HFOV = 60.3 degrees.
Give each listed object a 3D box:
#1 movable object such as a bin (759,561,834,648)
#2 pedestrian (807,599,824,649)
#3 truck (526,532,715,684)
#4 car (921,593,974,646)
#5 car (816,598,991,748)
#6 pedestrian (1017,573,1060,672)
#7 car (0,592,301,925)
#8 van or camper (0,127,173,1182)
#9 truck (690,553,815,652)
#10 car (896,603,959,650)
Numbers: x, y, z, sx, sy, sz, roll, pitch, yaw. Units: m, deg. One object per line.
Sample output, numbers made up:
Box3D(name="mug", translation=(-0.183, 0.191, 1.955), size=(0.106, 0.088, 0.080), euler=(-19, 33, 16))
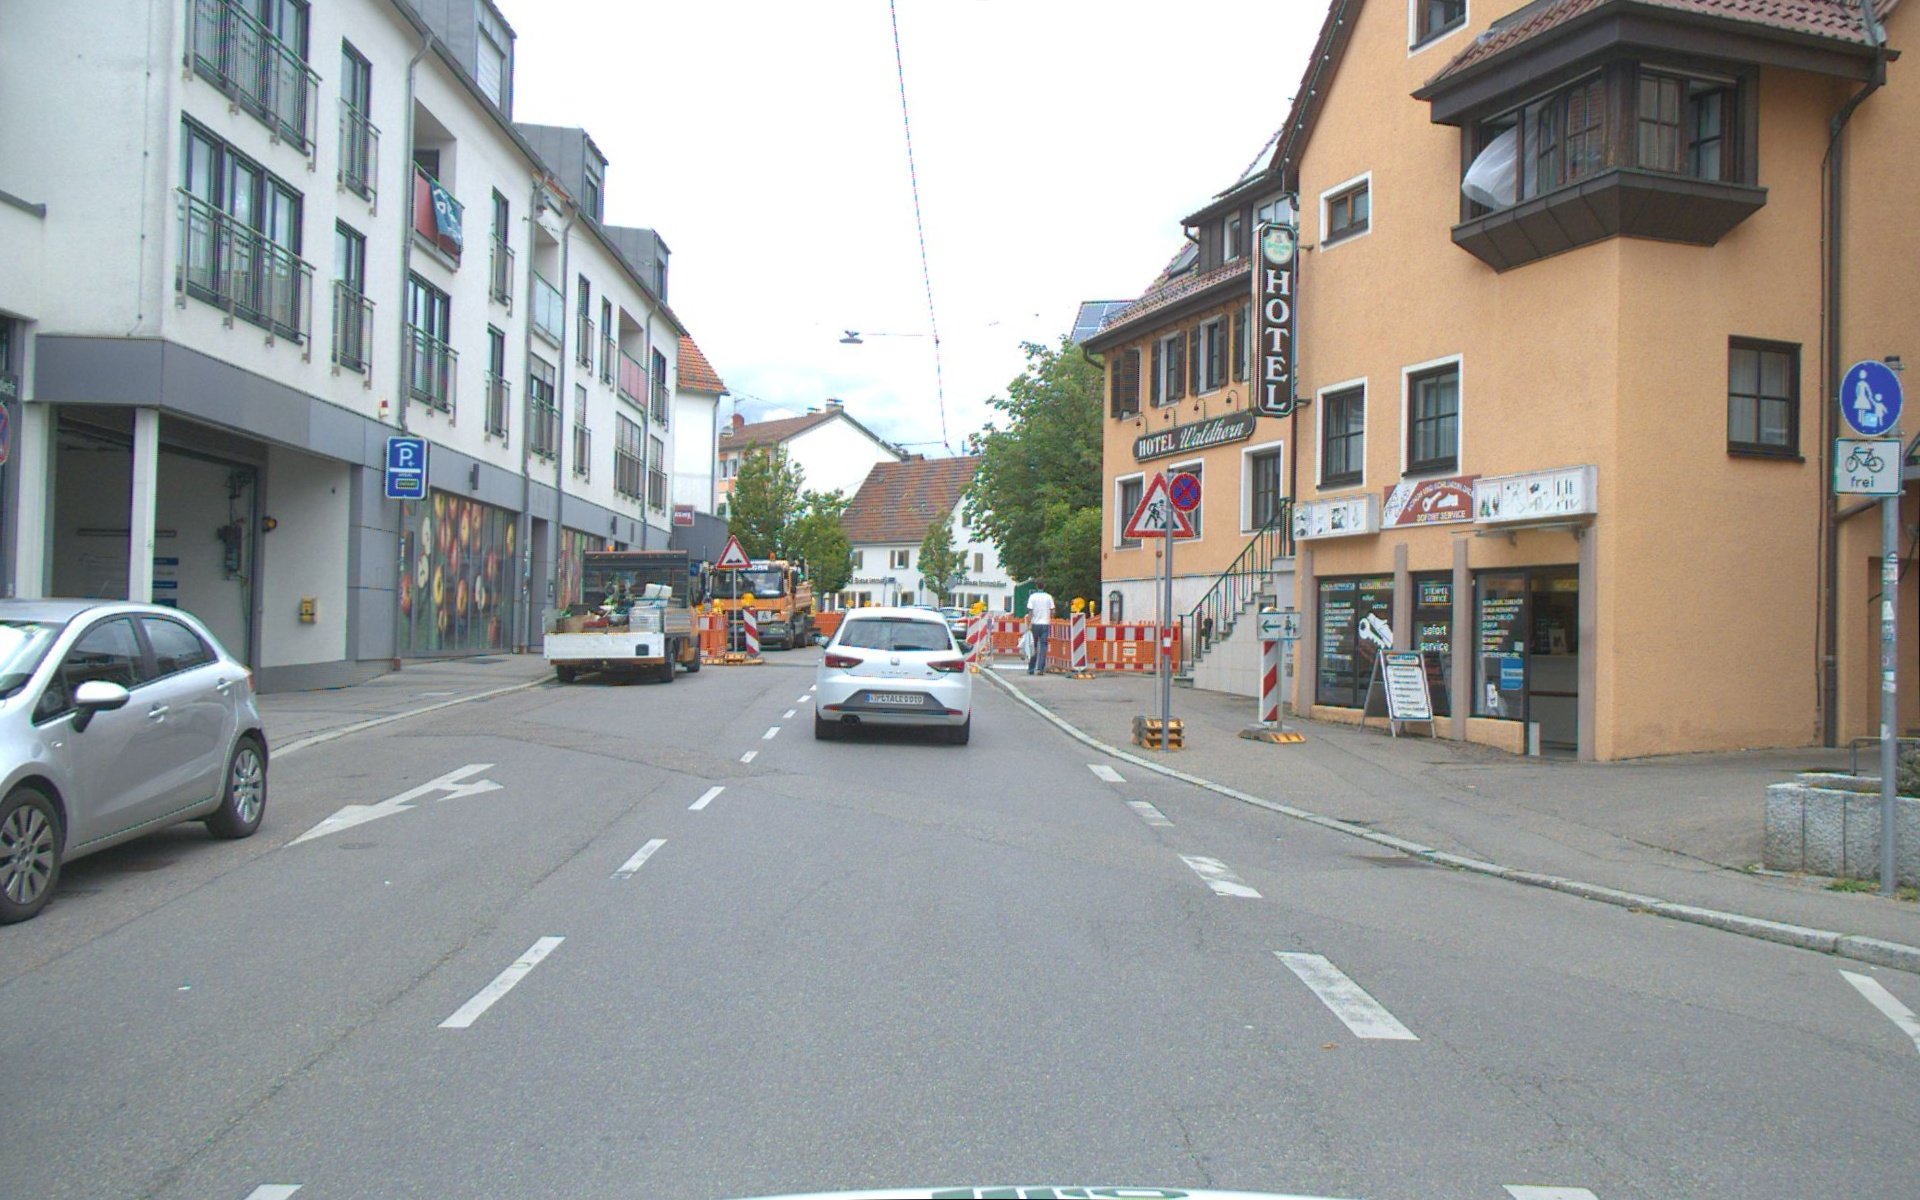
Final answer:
Box3D(name="movable object such as a bin", translation=(-5.506, 0.206, 56.359), size=(1.800, 2.812, 4.507), euler=(1, -2, 3))
Box3D(name="pedestrian", translation=(-5.231, 0.863, 59.974), size=(0.526, 1.774, 0.444), euler=(1, -1, 6))
Box3D(name="truck", translation=(-6.101, 0.115, 30.622), size=(2.365, 2.509, 6.305), euler=(0, 0, -2))
Box3D(name="car", translation=(-0.474, 0.795, 67.053), size=(1.952, 2.049, 4.001), euler=(1, -1, 2))
Box3D(name="car", translation=(-0.639, 0.763, 19.262), size=(1.775, 1.506, 3.869), euler=(2, 0, -2))
Box3D(name="pedestrian", translation=(1.589, 0.451, 33.680), size=(0.782, 1.984, 0.836), euler=(0, 0, -4))
Box3D(name="car", translation=(-5.080, 0.679, 8.652), size=(1.761, 1.436, 3.999), euler=(0, 0, -2))
Box3D(name="van or camper", translation=(-4.069, 0.134, 1.981), size=(2.269, 2.653, 6.213), euler=(0, 0, 13))
Box3D(name="truck", translation=(-6.156, 0.060, 50.175), size=(2.674, 2.772, 6.849), euler=(1, 0, 2))
Box3D(name="car", translation=(-1.062, 0.868, 55.650), size=(1.773, 1.506, 3.872), euler=(0, 0, 4))
